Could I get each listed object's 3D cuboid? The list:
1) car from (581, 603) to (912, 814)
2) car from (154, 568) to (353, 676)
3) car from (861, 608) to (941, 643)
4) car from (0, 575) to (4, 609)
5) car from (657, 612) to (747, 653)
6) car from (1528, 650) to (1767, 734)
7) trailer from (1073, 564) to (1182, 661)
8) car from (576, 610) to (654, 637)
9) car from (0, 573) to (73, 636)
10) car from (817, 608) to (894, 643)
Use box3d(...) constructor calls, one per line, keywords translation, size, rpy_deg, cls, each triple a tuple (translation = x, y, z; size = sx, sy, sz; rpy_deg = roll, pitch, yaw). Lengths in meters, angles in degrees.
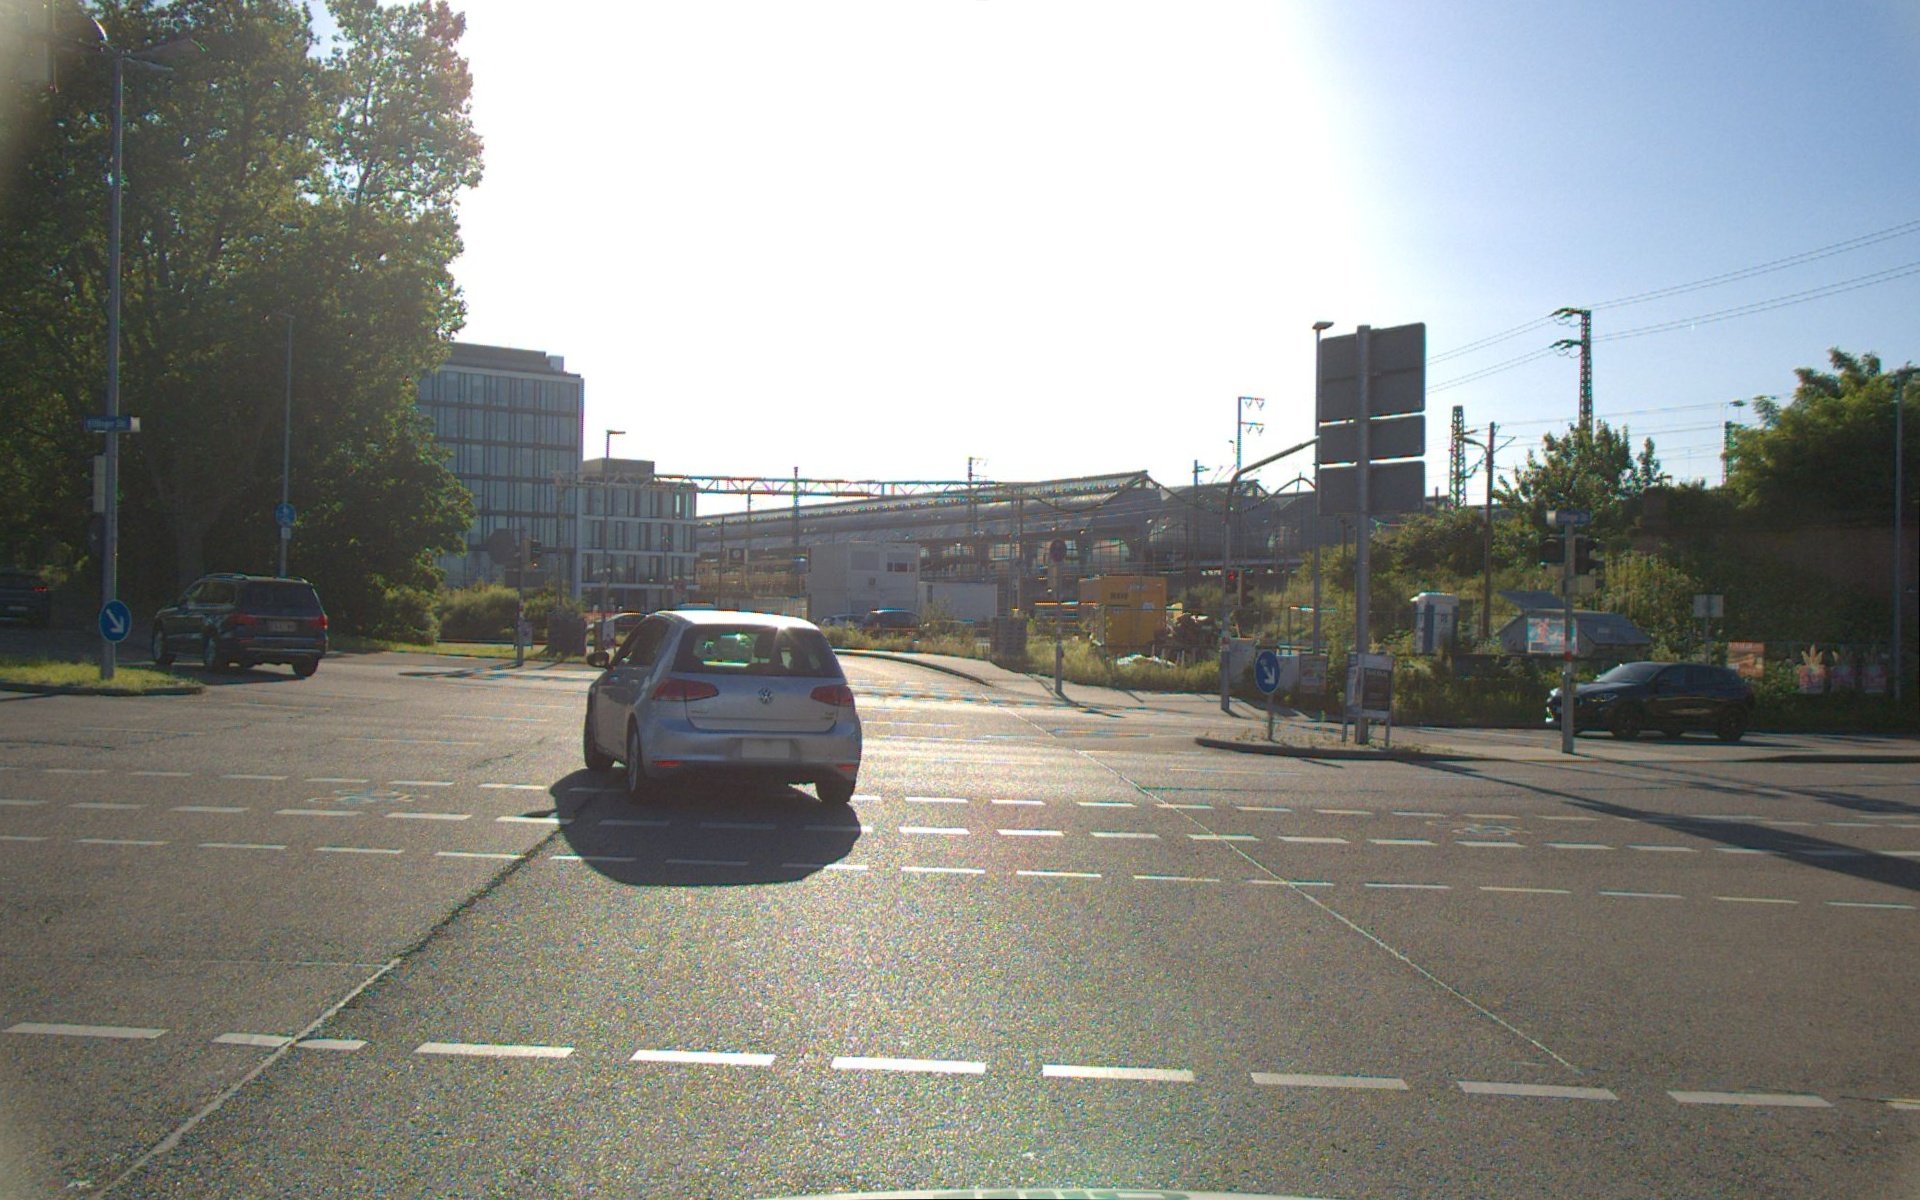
box3d(translation=(-1.924, 0.788, 13.766), size=(1.941, 1.452, 3.914), rpy_deg=(2, 0, -19), cls="car")
box3d(translation=(-13.699, 0.385, 31.924), size=(2.101, 1.920, 4.739), rpy_deg=(2, -1, -42), cls="car")
box3d(translation=(-3.173, 1.376, 88.726), size=(3.936, 1.735, 1.603), rpy_deg=(3, -1, -25), cls="car")
box3d(translation=(-49.374, -0.422, 83.207), size=(1.838, 1.679, 4.213), rpy_deg=(2, 0, -35), cls="car")
box3d(translation=(-10.269, 1.282, 65.651), size=(1.737, 1.502, 3.941), rpy_deg=(2, 0, -40), cls="car")
box3d(translation=(13.812, 1.847, 33.233), size=(4.309, 1.544, 1.944), rpy_deg=(2, -2, -21), cls="car")
box3d(translation=(6.234, 0.506, 62.540), size=(2.936, 3.349, 6.662), rpy_deg=(2, -1, -4), cls="trailer")
box3d(translation=(-26.497, 1.801, 127.199), size=(5.666, 1.877, 1.890), rpy_deg=(2, -1, -39), cls="car")
box3d(translation=(-27.713, 0.109, 48.667), size=(1.931, 1.743, 4.138), rpy_deg=(2, 0, -41), cls="car")
box3d(translation=(-5.800, 1.412, 91.757), size=(3.936, 1.819, 1.642), rpy_deg=(3, -1, -25), cls="car")
